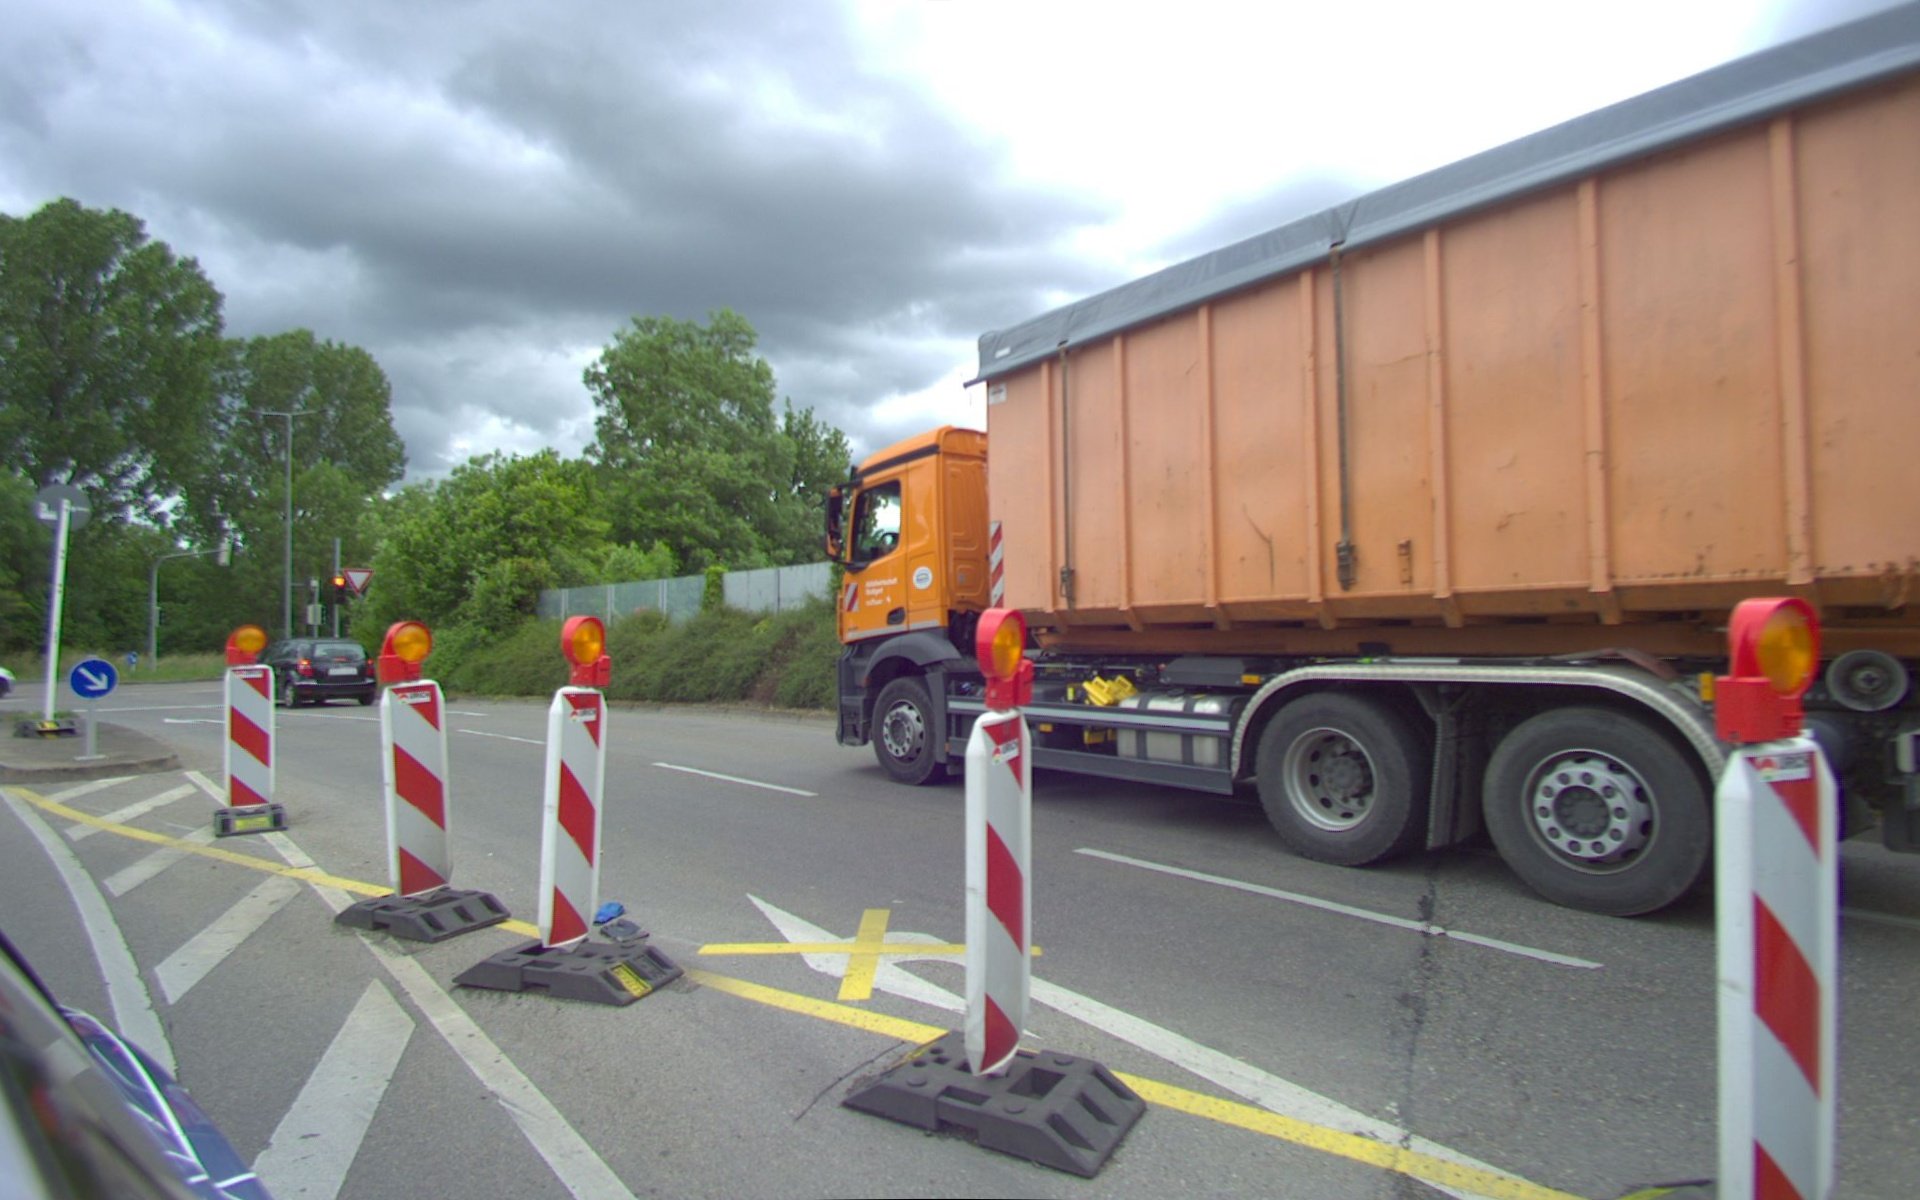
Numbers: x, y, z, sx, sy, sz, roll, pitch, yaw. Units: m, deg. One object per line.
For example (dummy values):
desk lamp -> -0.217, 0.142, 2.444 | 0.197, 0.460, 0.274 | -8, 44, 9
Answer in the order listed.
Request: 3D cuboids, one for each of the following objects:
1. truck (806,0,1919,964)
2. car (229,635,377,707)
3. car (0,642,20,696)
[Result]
truck -> 2.751, -0.662, 7.295 | 3.071, 4.253, 9.810 | 1, -2, -39
car -> -15.476, 1.660, 23.806 | 3.780, 1.564, 1.623 | -3, -5, 36
car -> -27.548, 1.867, 26.765 | 1.660, 1.481, 3.606 | -2, -2, 19
